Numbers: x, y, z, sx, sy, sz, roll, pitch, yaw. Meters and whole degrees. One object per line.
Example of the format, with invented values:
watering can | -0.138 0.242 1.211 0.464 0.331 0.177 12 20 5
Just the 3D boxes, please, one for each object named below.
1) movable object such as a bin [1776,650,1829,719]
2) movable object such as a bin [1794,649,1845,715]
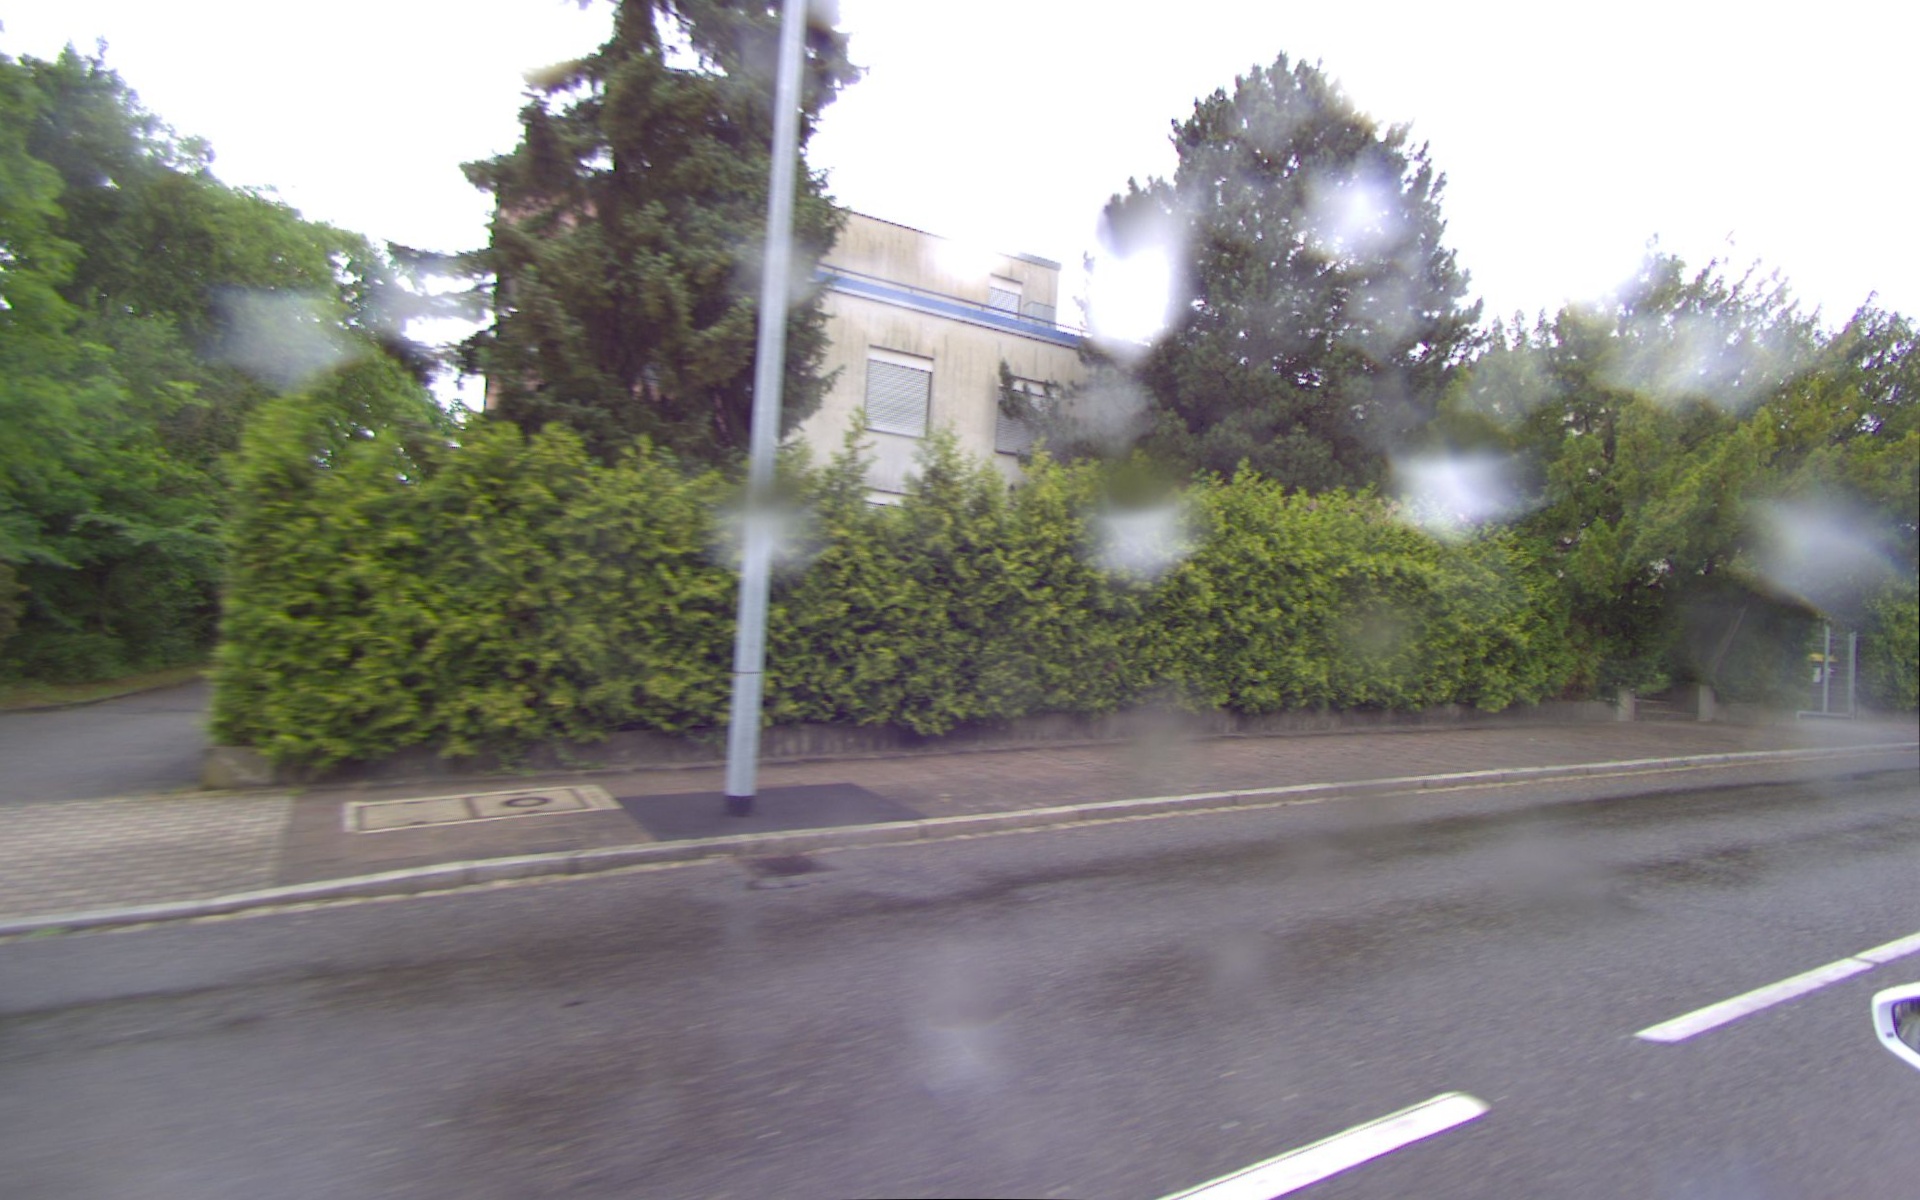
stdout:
movable object such as a bin | 17.229 1.720 20.541 0.796 1.343 0.545 2 0 -28
movable object such as a bin | 18.257 1.733 21.332 0.796 1.343 0.545 2 0 -28
